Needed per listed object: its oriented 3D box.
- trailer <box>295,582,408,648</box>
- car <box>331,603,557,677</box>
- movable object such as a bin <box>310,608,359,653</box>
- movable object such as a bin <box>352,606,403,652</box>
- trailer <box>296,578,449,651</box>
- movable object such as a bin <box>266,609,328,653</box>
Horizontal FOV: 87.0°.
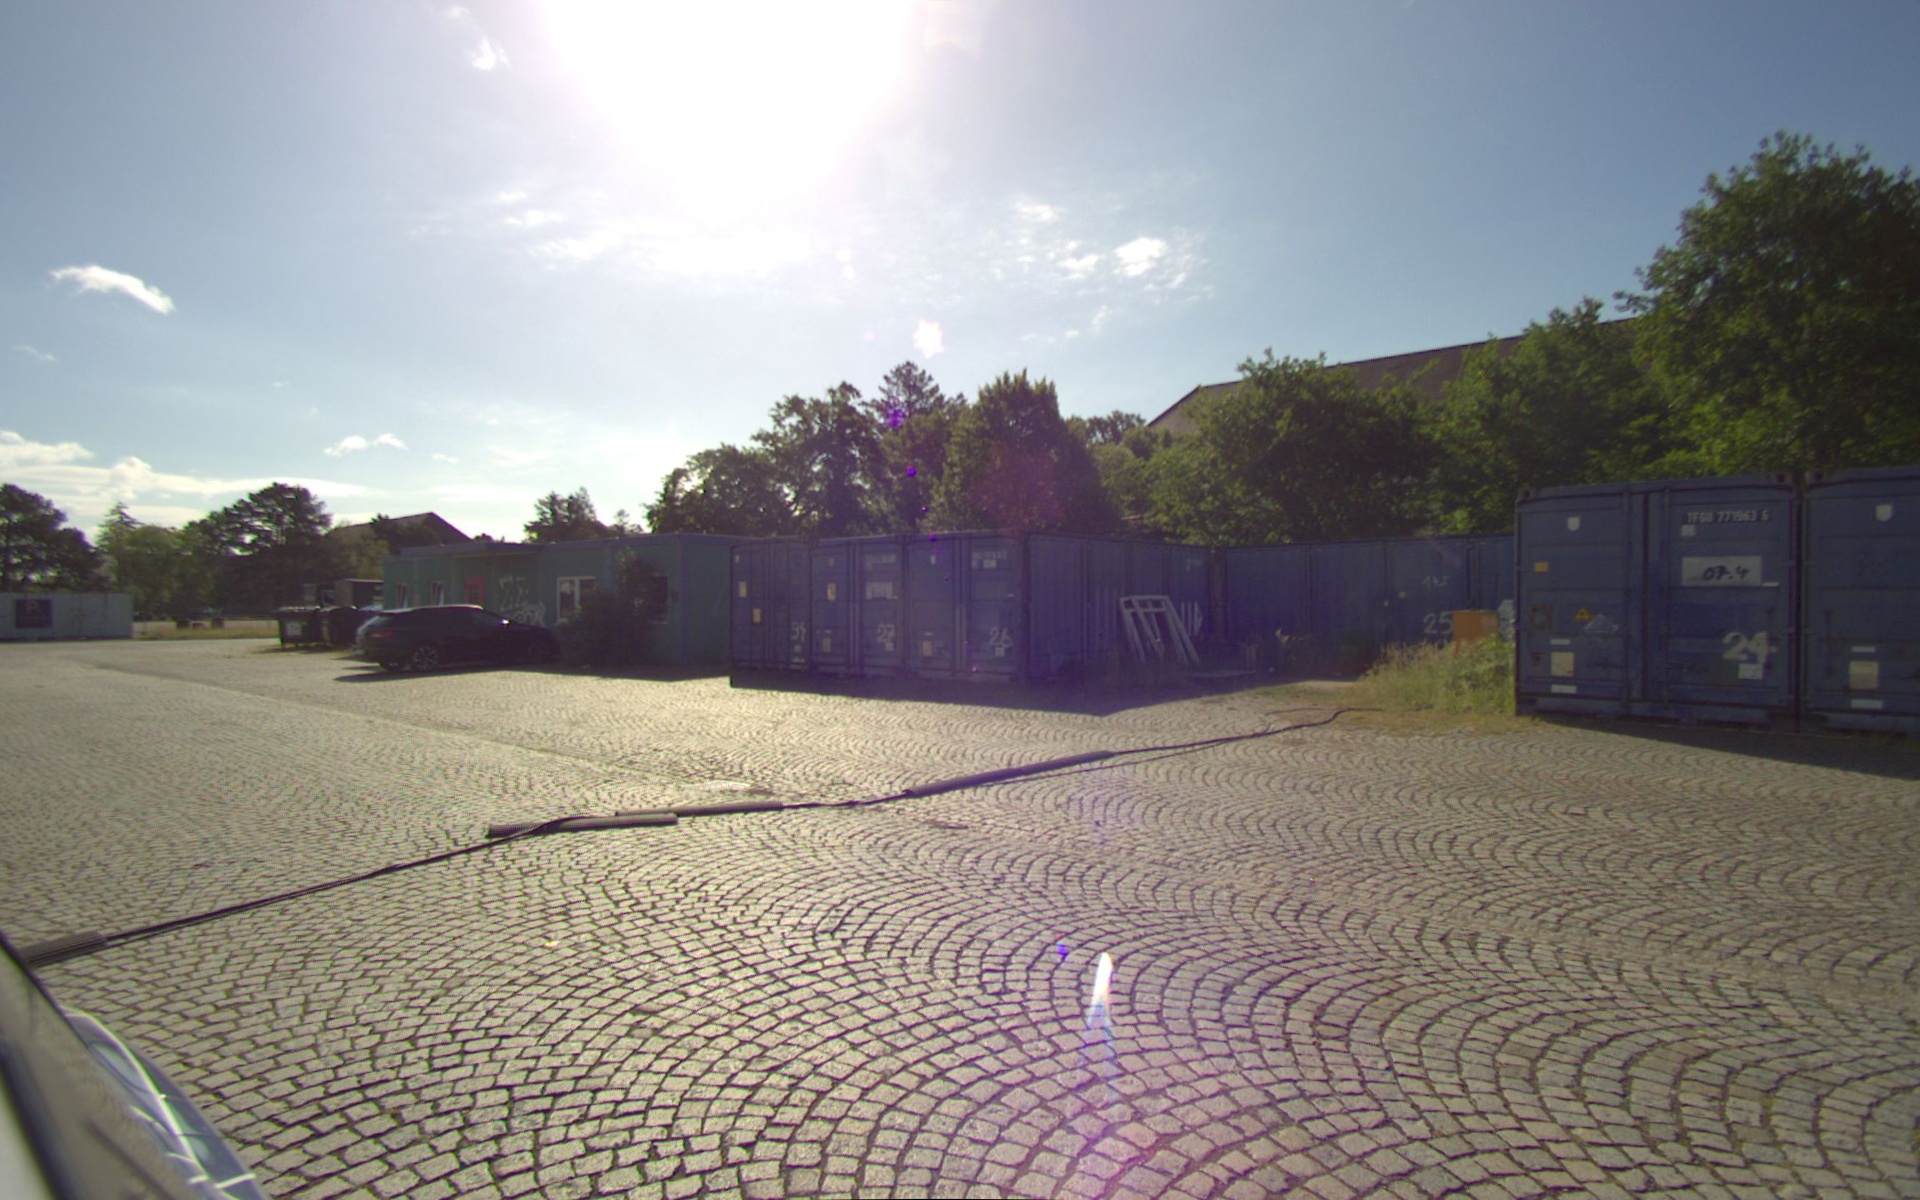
[{"bbox_3d":[-23.900,0.547,39.803,2.043,2.488,3.349,0,1,41],"label":"trailer"},{"bbox_3d":[-11.737,0.837,23.245,1.929,1.460,4.210,0,1,38],"label":"car"},{"bbox_3d":[-21.141,1.009,34.215,1.439,1.469,1.007,0,1,40],"label":"movable object such as a bin"},{"bbox_3d":[-19.394,0.950,33.682,1.435,1.469,0.876,0,0,30],"label":"movable object such as a bin"},{"bbox_3d":[-22.067,0.484,38.179,1.948,2.587,4.594,0,1,36],"label":"trailer"},{"bbox_3d":[-23.051,1.064,35.224,1.416,1.469,1.158,-1,0,-6],"label":"movable object such as a bin"}]
